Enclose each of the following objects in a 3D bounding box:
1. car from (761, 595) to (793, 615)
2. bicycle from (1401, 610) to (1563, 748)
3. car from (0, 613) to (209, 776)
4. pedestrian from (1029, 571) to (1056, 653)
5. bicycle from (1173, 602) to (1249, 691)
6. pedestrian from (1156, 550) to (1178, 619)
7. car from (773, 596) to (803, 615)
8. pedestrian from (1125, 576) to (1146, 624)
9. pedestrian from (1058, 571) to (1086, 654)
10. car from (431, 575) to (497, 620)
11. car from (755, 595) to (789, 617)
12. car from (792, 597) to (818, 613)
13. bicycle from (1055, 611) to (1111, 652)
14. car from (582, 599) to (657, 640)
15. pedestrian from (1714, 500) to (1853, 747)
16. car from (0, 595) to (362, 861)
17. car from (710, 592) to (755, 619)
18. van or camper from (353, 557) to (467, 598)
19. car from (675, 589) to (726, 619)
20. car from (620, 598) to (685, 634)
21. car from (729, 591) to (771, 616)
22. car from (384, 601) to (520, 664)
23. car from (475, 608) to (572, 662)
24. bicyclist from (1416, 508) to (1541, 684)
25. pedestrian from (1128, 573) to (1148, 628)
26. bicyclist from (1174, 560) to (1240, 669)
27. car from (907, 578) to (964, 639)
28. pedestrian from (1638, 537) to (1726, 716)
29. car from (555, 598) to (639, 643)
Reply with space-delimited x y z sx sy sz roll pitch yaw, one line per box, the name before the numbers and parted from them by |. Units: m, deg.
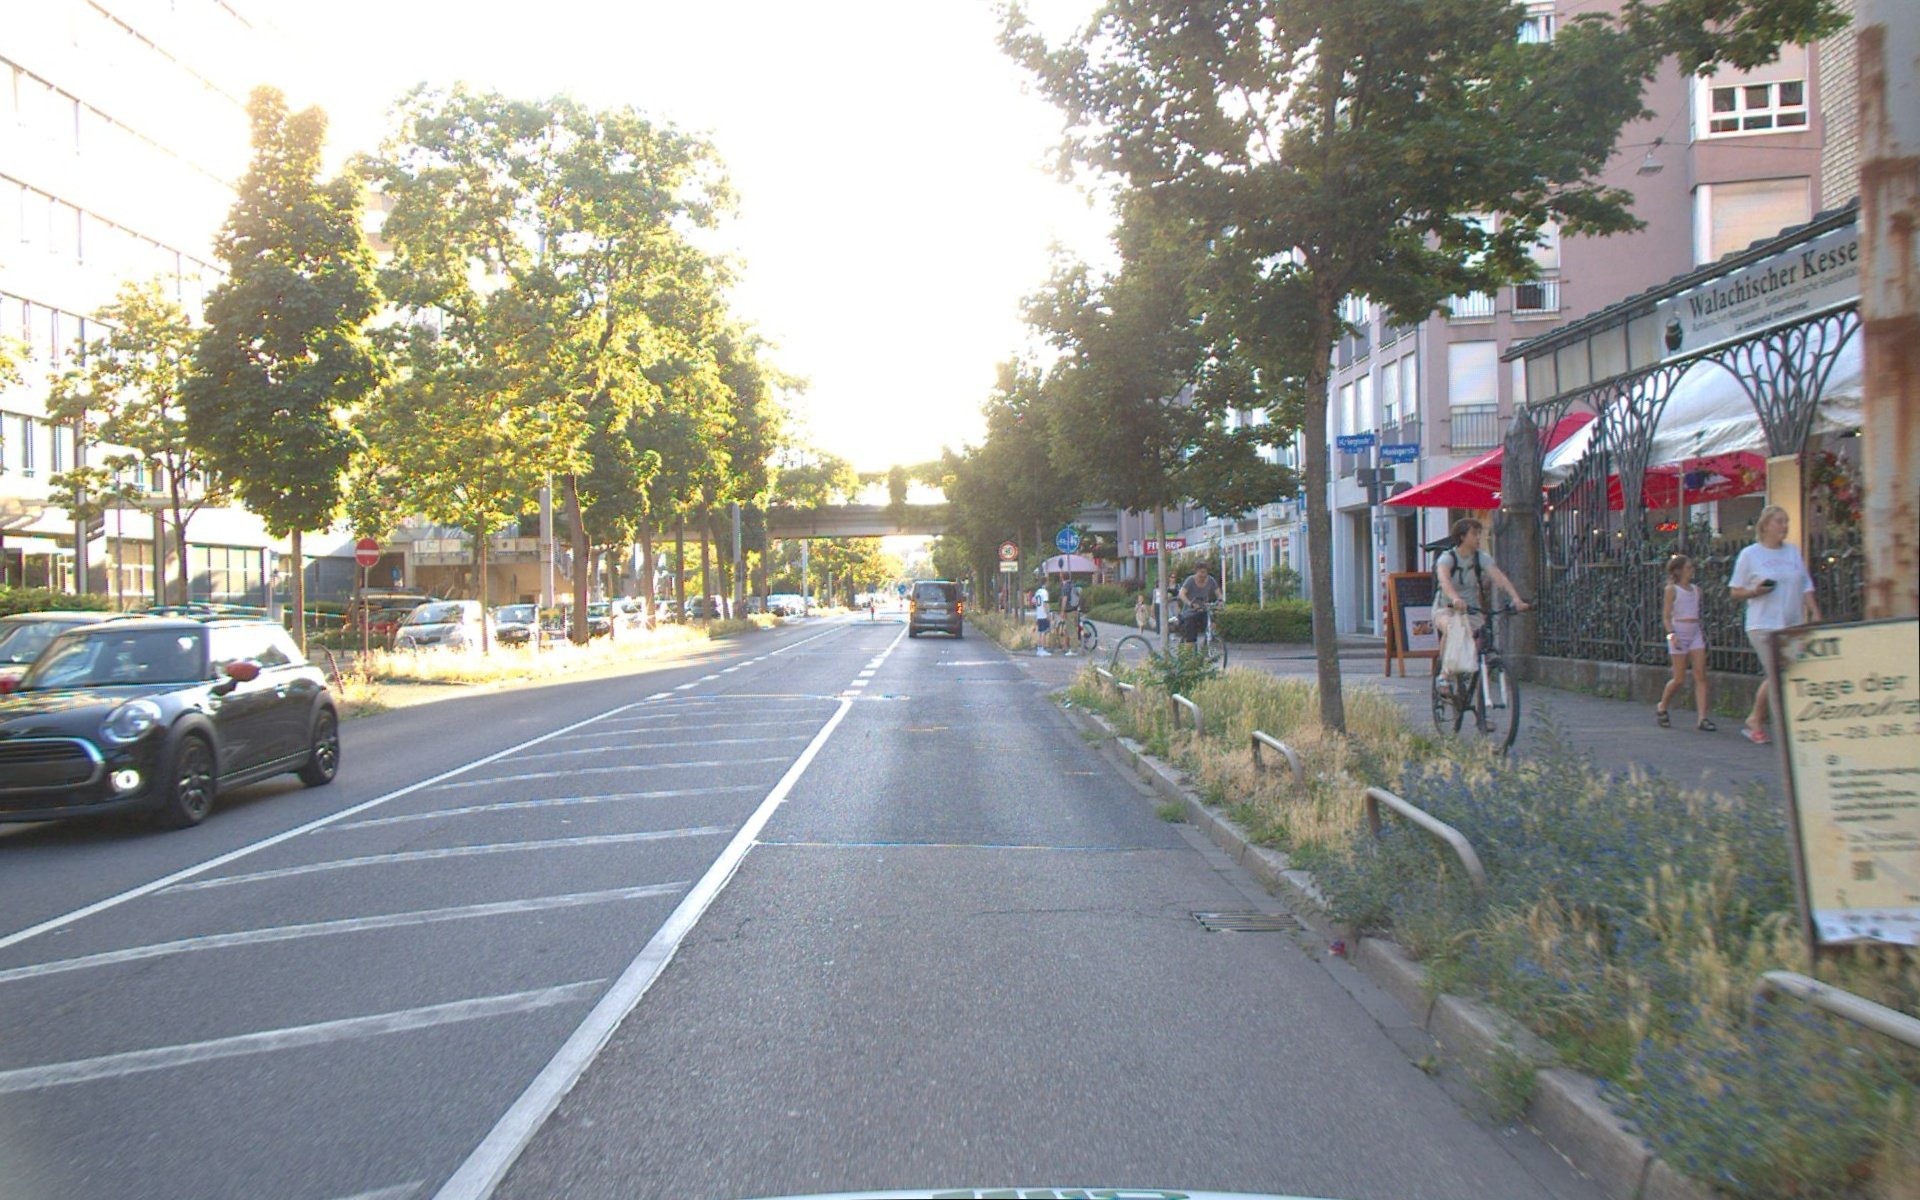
car | -13.212 0.362 119.648 1.953 1.439 4.236 0 0 -1
bicycle | 3.855 0.550 12.365 0.567 0.913 1.987 0 0 -1
car | -9.363 0.868 16.958 1.605 1.410 3.999 0 0 -2
pedestrian | 1.949 0.283 39.051 0.496 1.922 0.543 0 0 -16
bicycle | 3.688 0.657 24.461 0.536 1.248 1.983 0 0 -9
pedestrian | 7.743 -0.580 61.813 0.701 2.583 0.824 0 0 -1
car | -13.539 0.414 130.279 1.953 1.439 4.236 0 0 -1
pedestrian | 6.781 0.005 63.920 0.701 1.849 0.614 0 0 -1
pedestrian | 2.614 0.281 38.594 0.496 1.922 0.543 0 0 -16
car | -26.265 -0.154 87.744 1.953 2.348 5.244 0 0 -1
car | -13.072 0.402 115.078 1.953 1.439 4.236 0 0 -1
car | -13.855 0.435 148.211 1.953 1.439 4.236 0 0 -1
bicycle | 2.924 0.734 39.462 0.580 0.913 1.975 0 0 -20
car | -12.659 0.704 61.750 1.953 1.439 4.236 0 0 -1
pedestrian | 5.683 0.157 11.444 0.631 1.661 0.656 0 0 -1
car | -5.960 0.806 12.167 1.645 1.556 3.999 -3 1 -1
car | -12.500 0.299 91.017 1.953 1.439 4.236 0 0 -1
van or camper | -35.011 -1.431 105.426 6.432 2.566 2.448 0 0 -3
car | -12.912 0.197 82.510 1.953 1.439 4.236 0 0 -1
car | -12.692 0.643 68.564 1.953 1.439 4.236 0 0 -1
car | -12.387 0.213 97.705 1.953 1.439 4.236 0 0 -1
car | -11.720 0.718 38.417 1.953 1.333 4.065 0 0 -1
car | -11.858 0.924 45.124 1.637 1.337 3.964 0 0 -1
bicyclist | 3.868 -0.032 12.401 0.573 1.258 1.112 0 0 -1
pedestrian | 6.815 0.017 63.240 0.701 2.077 0.614 0 0 -1
bicyclist | 3.644 0.209 24.463 0.737 1.585 0.936 0 0 -8
car | -0.820 0.255 57.386 1.849 1.958 3.839 -2 1 0
pedestrian | 5.658 0.202 12.979 0.457 1.374 0.530 0 0 -1
car | -12.225 0.665 55.943 1.953 1.439 4.236 0 0 -1
